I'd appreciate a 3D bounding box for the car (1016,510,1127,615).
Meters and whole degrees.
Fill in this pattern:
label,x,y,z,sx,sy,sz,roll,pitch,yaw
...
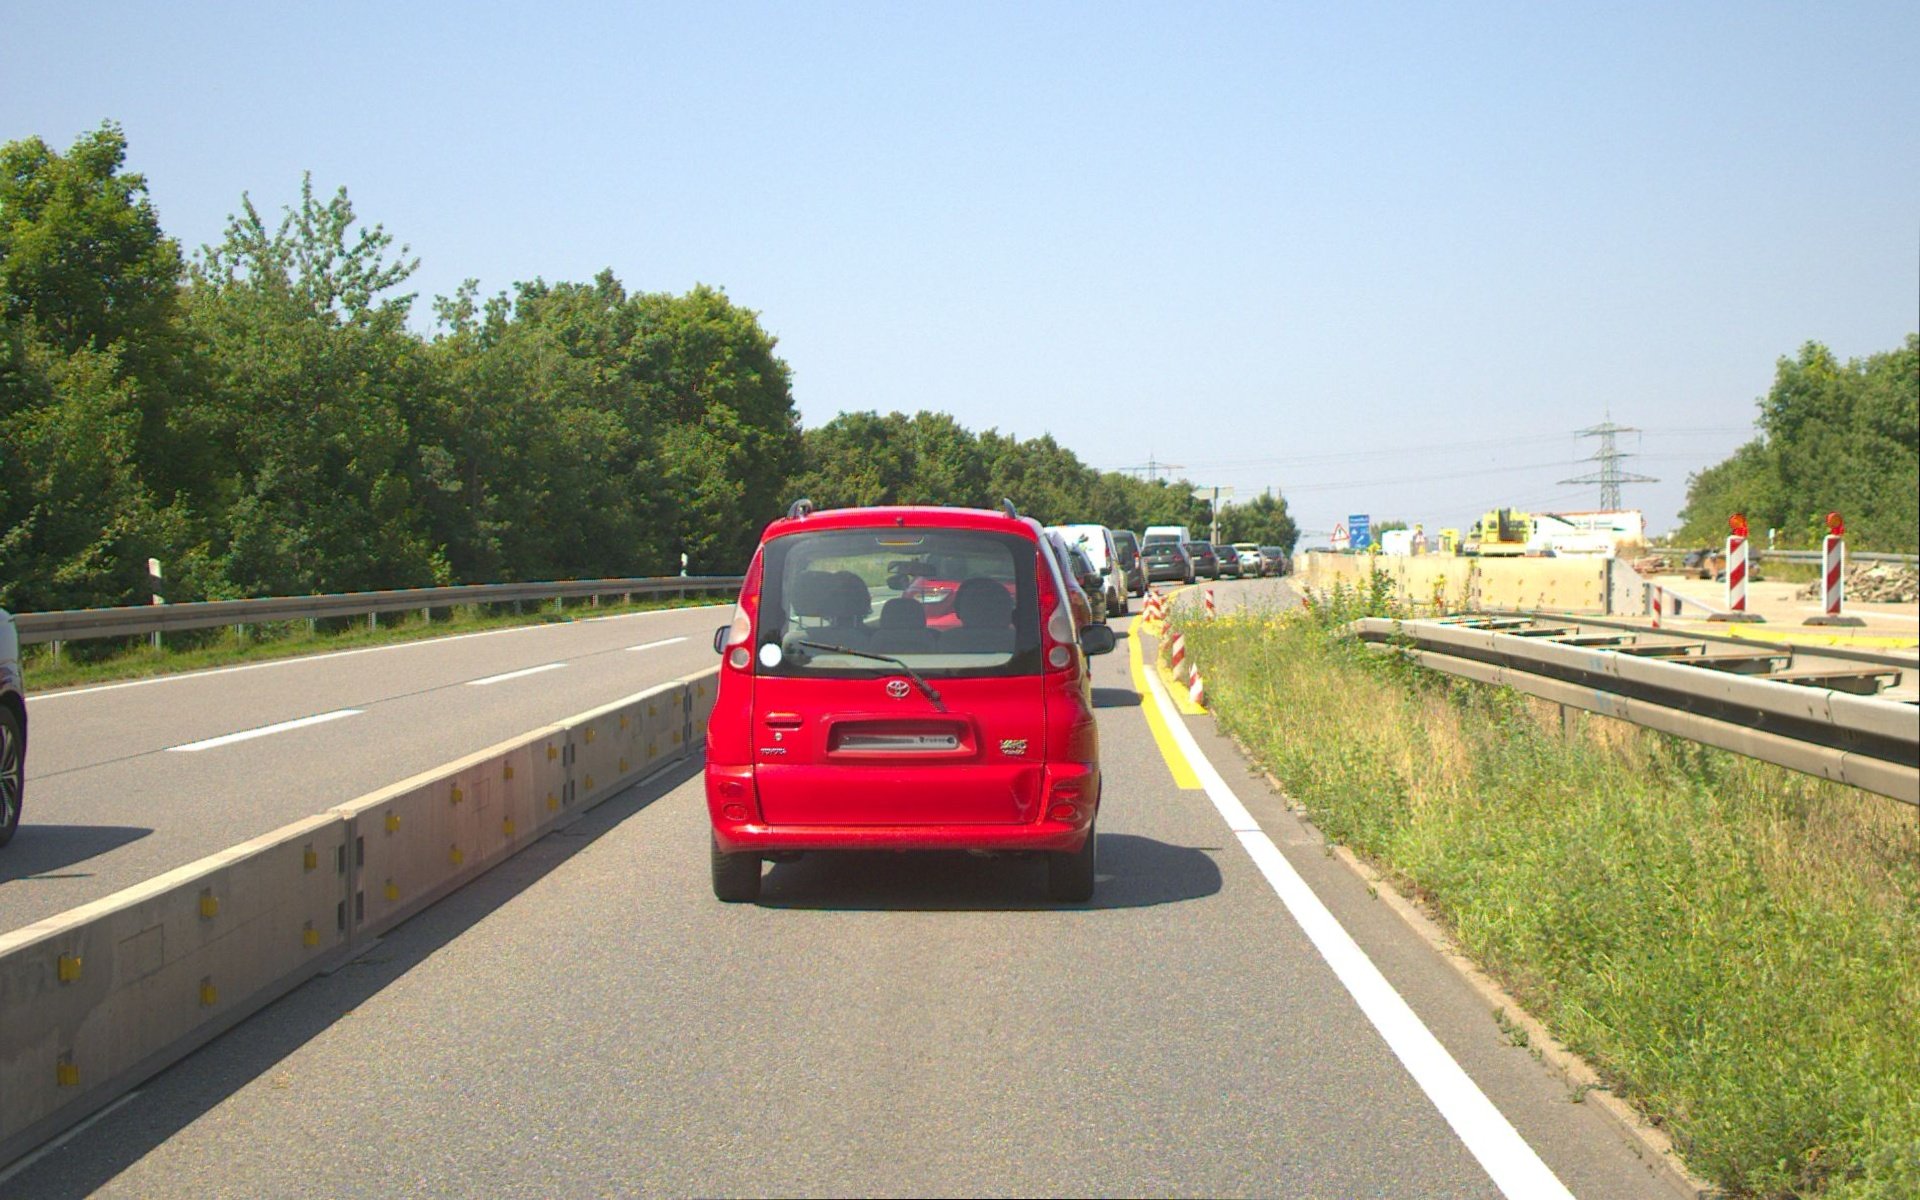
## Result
label,x,y,z,sx,sy,sz,roll,pitch,yaw
car,2.161,-0.744,67.718,1.993,1.997,4.000,1,1,-1

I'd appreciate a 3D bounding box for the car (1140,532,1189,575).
label,x,y,z,sx,sy,sz,roll,pitch,yaw
car,6.979,-1.596,117.493,1.502,1.446,3.325,-1,1,1

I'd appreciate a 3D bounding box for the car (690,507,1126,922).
label,x,y,z,sx,sy,sz,roll,pitch,yaw
car,-0.195,0.430,15.842,1.752,1.667,4.000,0,1,0

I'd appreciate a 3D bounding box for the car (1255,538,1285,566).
label,x,y,z,sx,sy,sz,roll,pitch,yaw
car,16.544,-2.573,183.743,1.502,1.446,3.170,0,1,4

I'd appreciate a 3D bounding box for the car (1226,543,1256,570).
label,x,y,z,sx,sy,sz,roll,pitch,yaw
car,13.929,-2.153,170.399,1.421,1.294,2.879,0,1,4

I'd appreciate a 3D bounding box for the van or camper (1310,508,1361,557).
label,x,y,z,sx,sy,sz,roll,pitch,yaw
van or camper,21.492,-3.845,196.736,2.328,2.697,4.593,-1,1,-1

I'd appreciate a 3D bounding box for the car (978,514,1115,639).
label,x,y,z,sx,sy,sz,roll,pitch,yaw
car,1.354,-0.382,52.427,1.994,1.831,4.000,0,1,2

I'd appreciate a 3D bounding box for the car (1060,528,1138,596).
label,x,y,z,sx,sy,sz,roll,pitch,yaw
car,3.680,-1.019,91.279,1.993,1.744,4.000,1,1,2

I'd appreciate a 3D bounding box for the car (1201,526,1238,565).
label,x,y,z,sx,sy,sz,roll,pitch,yaw
car,11.617,-2.444,153.981,1.502,1.730,3.170,0,1,2

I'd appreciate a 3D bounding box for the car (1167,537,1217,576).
label,x,y,z,sx,sy,sz,roll,pitch,yaw
car,9.490,-1.782,140.358,1.994,1.579,3.999,0,1,5

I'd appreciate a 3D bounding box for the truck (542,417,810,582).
label,x,y,z,sx,sy,sz,roll,pitch,yaw
truck,-9.597,-3.407,117.000,8.621,5.357,3.389,-1,1,3

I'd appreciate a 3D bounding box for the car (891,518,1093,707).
label,x,y,z,sx,sy,sz,roll,pitch,yaw
car,0.337,0.079,33.311,1.830,1.716,4.000,0,1,1

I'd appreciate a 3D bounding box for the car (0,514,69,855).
label,x,y,z,sx,sy,sz,roll,pitch,yaw
car,-5.528,0.406,15.370,1.857,1.632,4.384,1,1,1
